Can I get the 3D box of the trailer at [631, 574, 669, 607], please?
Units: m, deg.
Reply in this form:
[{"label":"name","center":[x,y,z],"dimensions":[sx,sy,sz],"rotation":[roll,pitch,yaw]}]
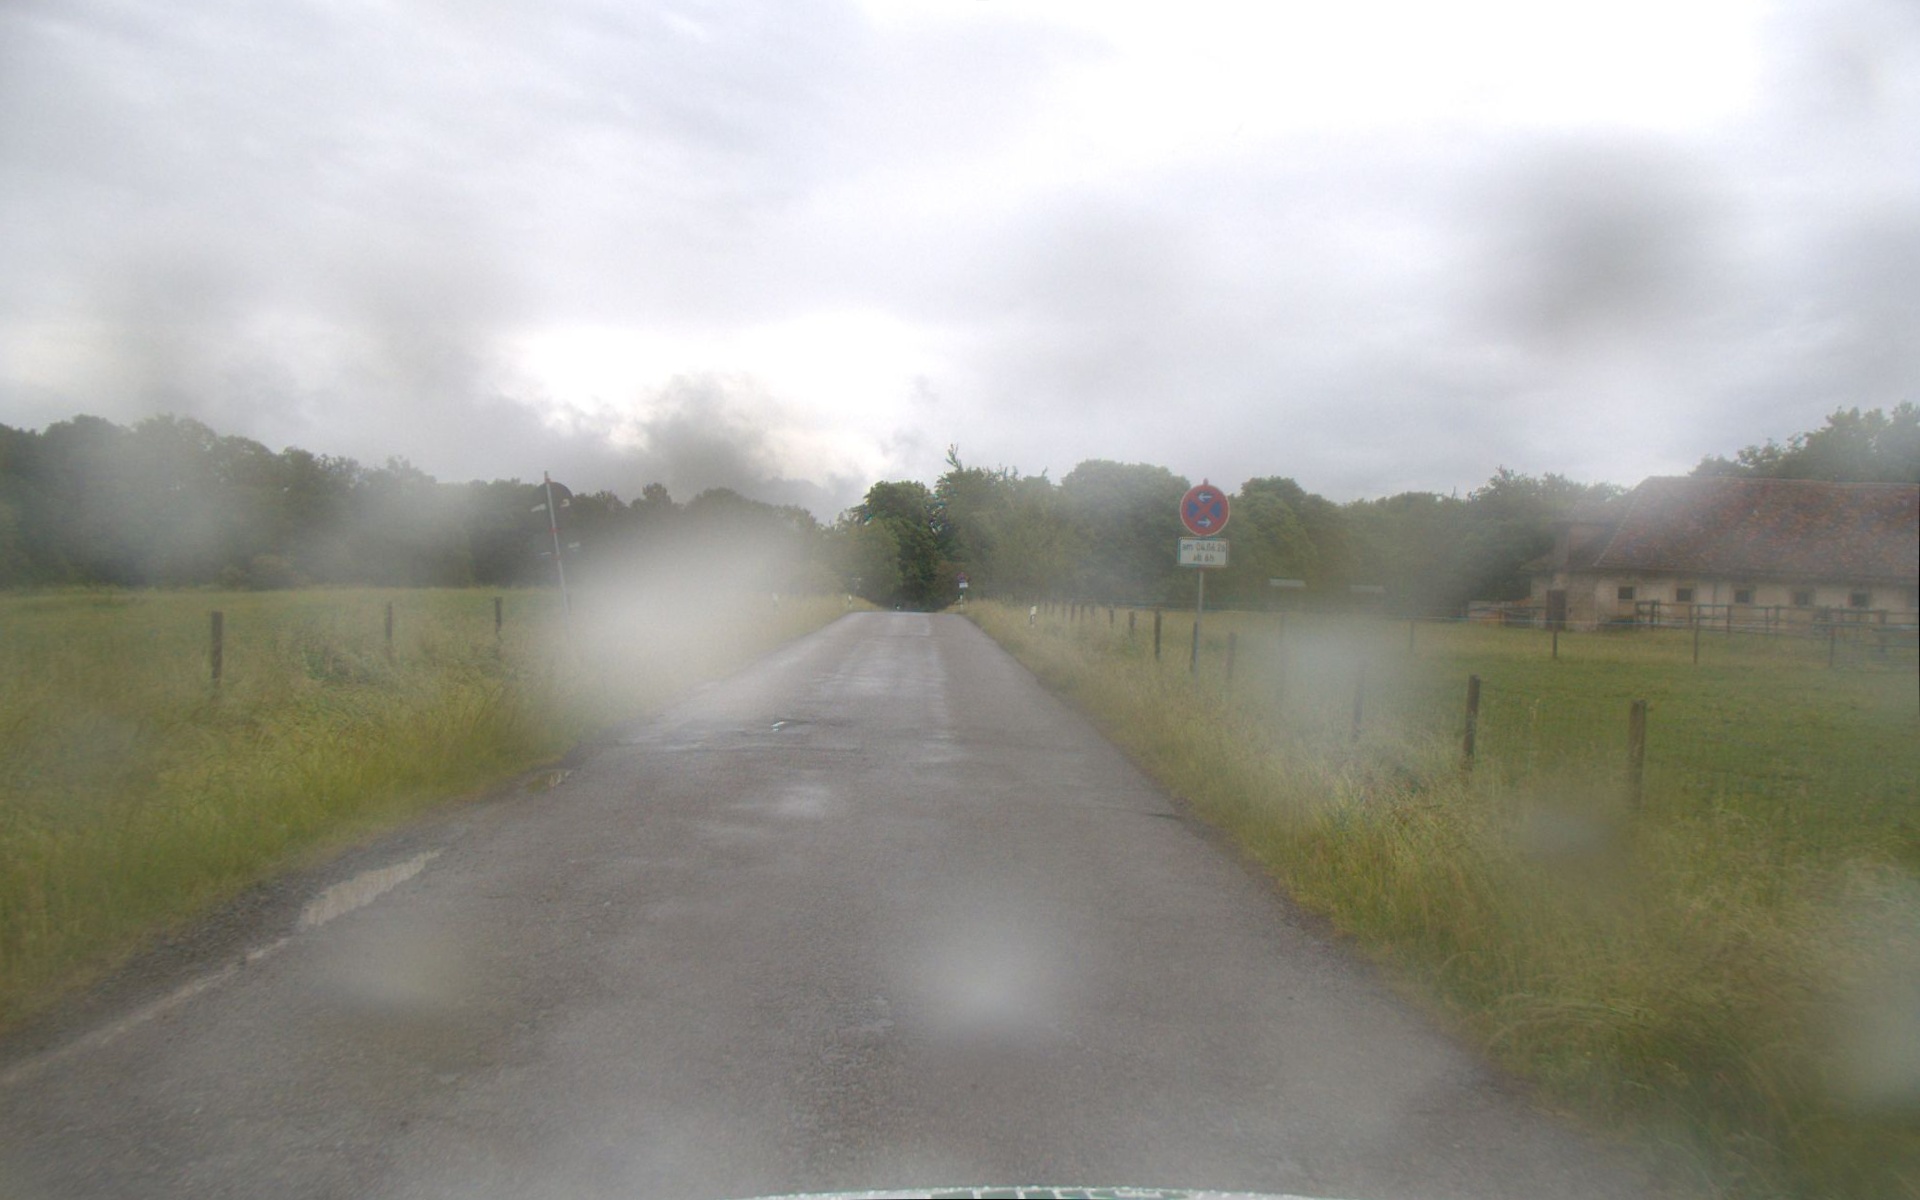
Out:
[{"label":"trailer","center":[-15.272,-0.470,81.408],"dimensions":[1.720,1.531,3.081],"rotation":[1,0,-12]}]
